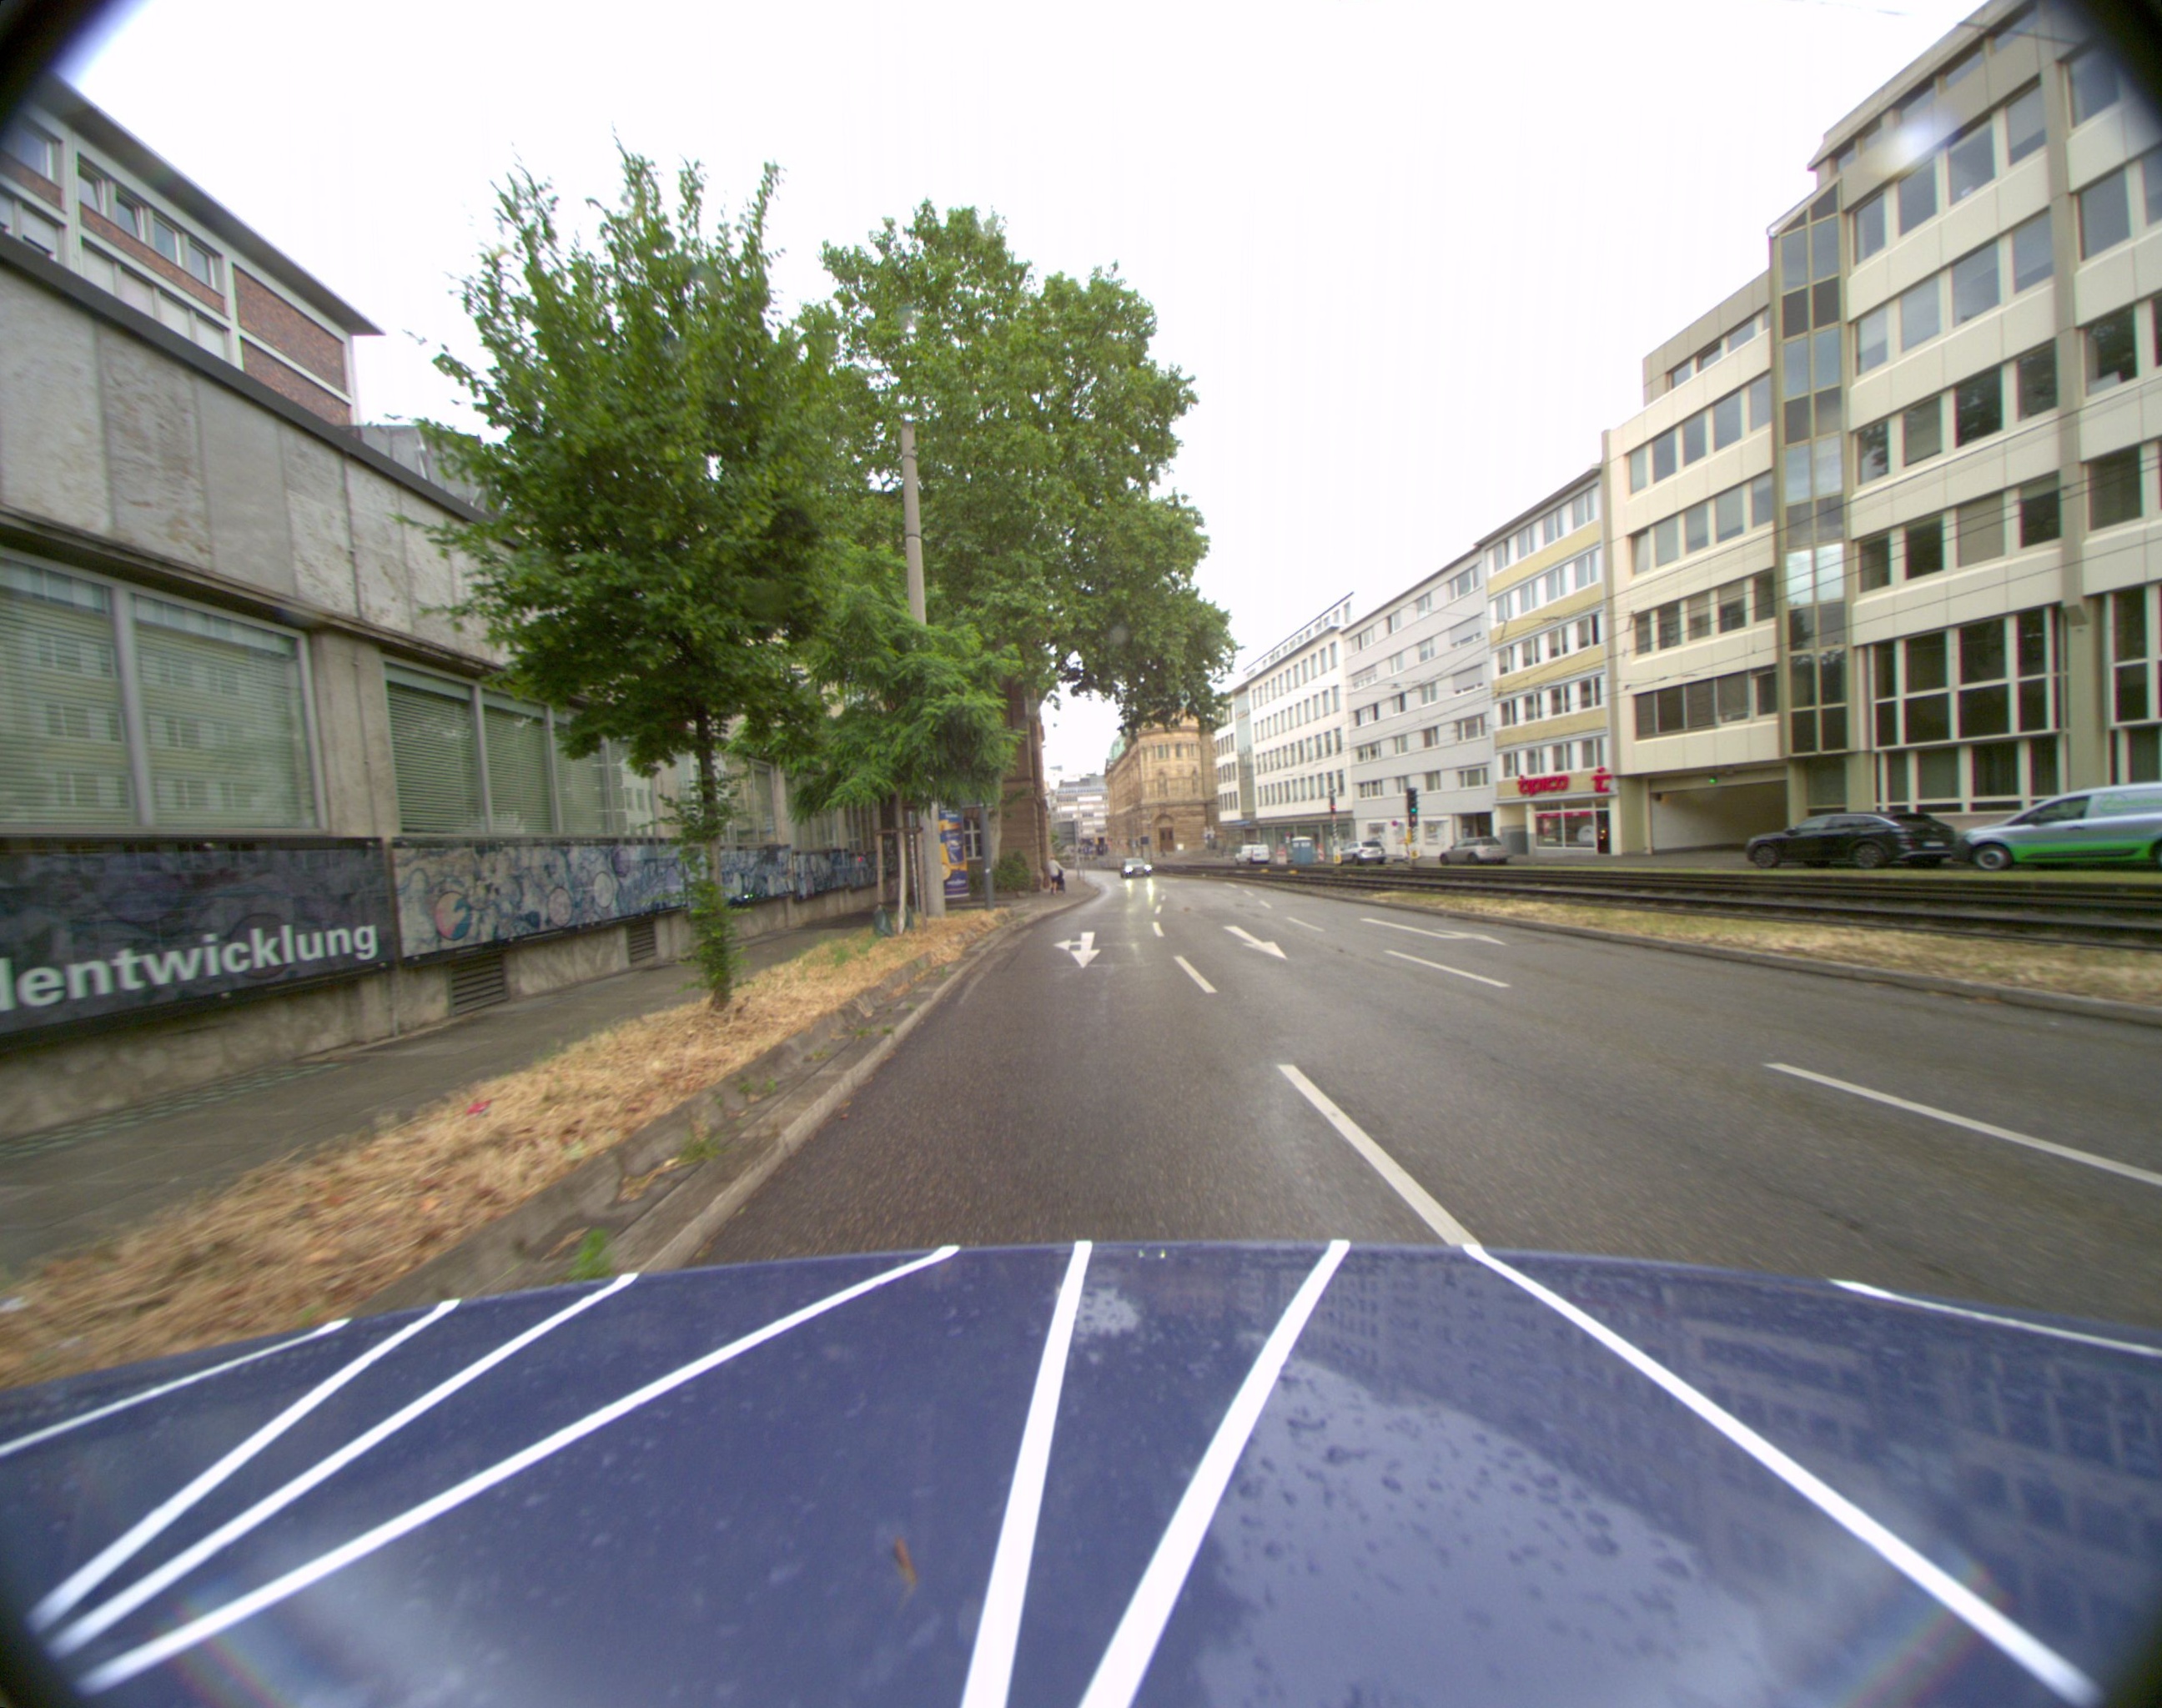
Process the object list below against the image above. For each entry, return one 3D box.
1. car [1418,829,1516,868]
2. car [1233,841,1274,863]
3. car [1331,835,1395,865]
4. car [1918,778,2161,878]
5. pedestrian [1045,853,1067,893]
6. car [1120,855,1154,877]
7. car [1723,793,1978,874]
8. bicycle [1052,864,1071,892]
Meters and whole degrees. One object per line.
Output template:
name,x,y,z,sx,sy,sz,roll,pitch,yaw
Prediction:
car,19.348,-0.315,38.366,1.999,1.664,4.691,-6,2,-7
car,16.384,-0.189,72.488,1.999,1.832,5.127,-6,2,-7
car,18.338,-0.217,49.725,1.999,1.664,4.694,-6,0,-4
car,21.458,-0.578,16.084,1.999,1.840,4.691,-6,2,-7
pedestrian,-1.075,0.817,33.348,0.719,1.732,1.020,-1,0,11
car,4.156,0.868,57.024,1.999,1.458,4.642,-5,0,-1
car,21.159,-0.542,21.247,1.999,1.840,4.691,-6,2,-7
bicycle,-0.873,1.079,34.303,0.620,1.213,0.911,-2,1,12
